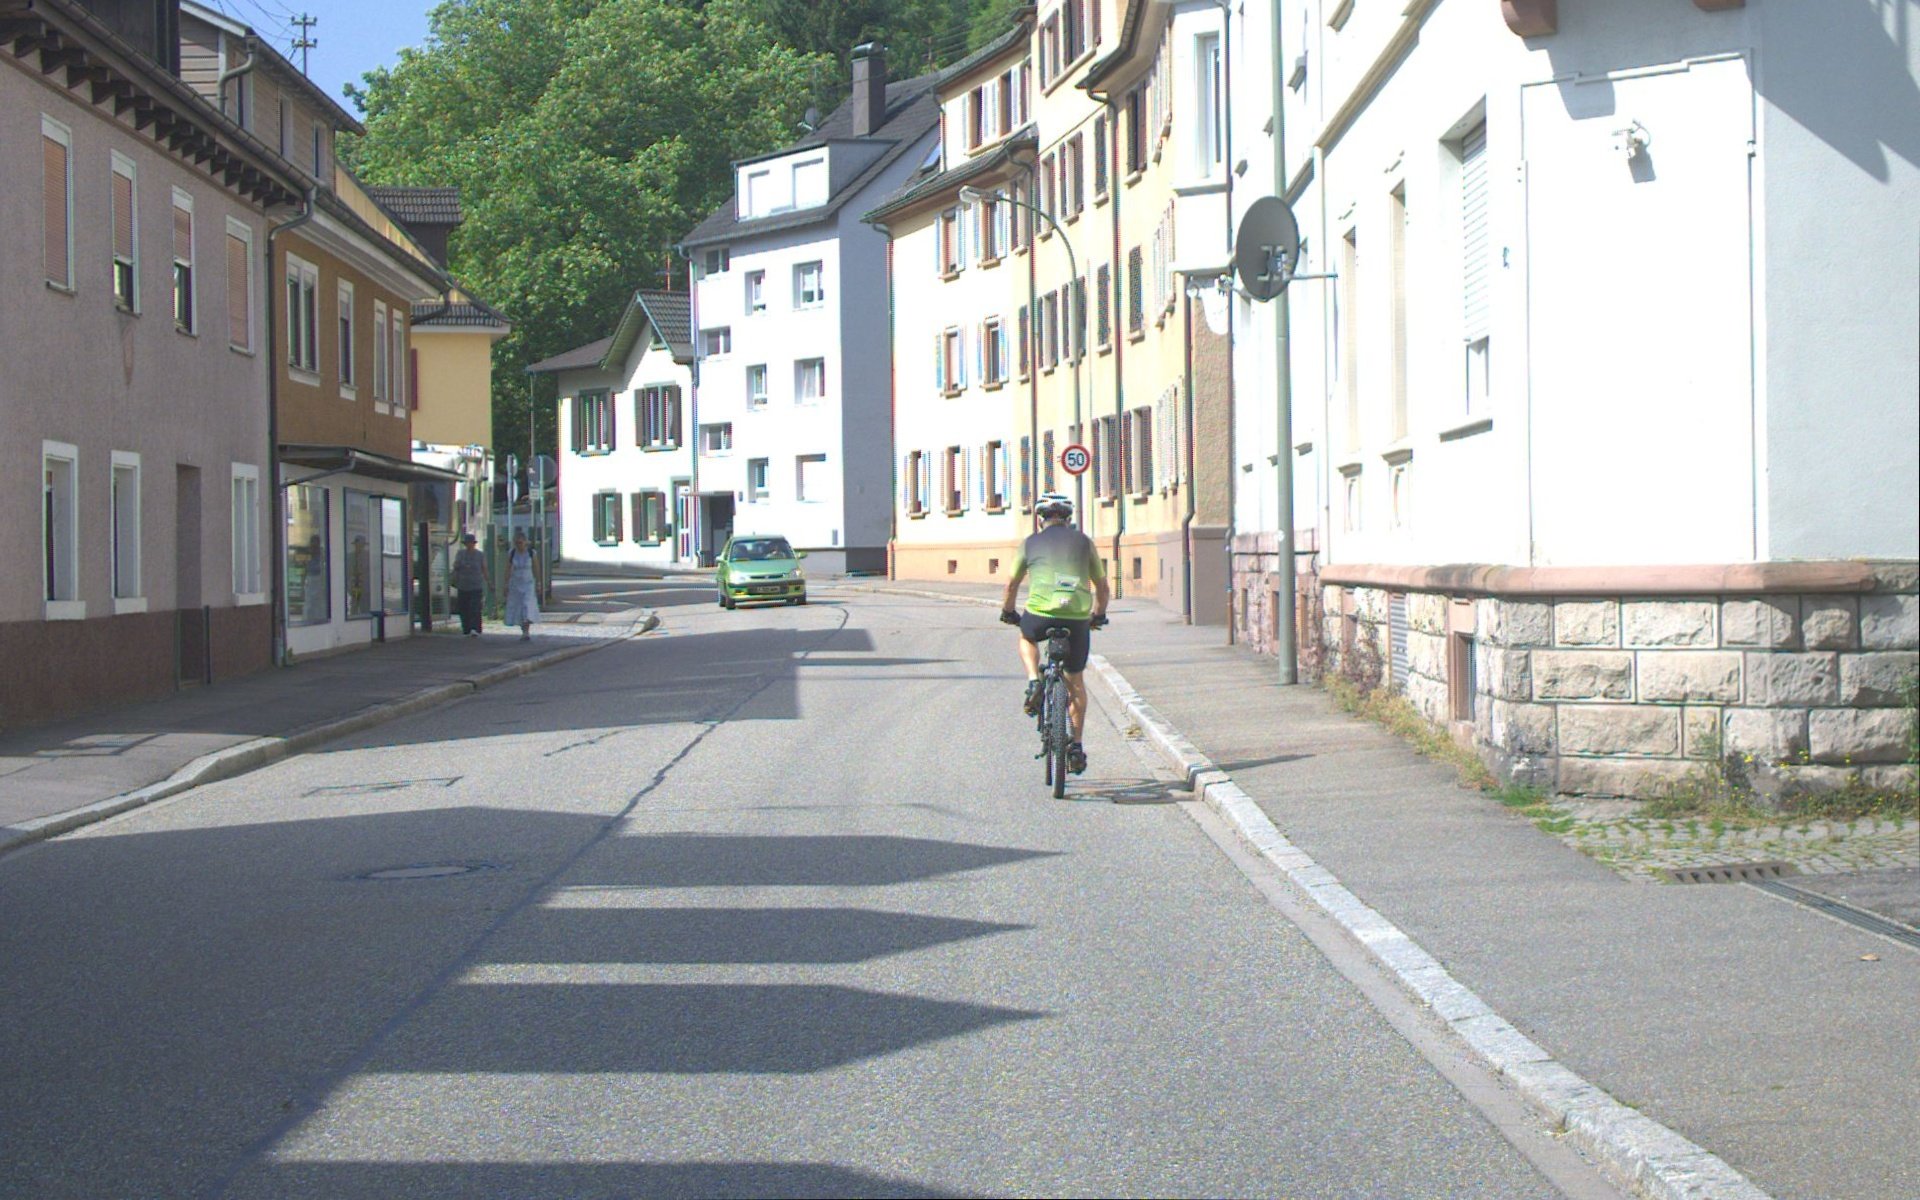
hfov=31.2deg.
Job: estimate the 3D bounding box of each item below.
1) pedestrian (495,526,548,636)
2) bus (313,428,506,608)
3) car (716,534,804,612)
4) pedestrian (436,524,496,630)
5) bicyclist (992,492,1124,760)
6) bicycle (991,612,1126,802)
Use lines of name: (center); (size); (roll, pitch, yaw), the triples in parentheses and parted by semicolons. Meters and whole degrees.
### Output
pedestrian: (-6.613, -0.296, 51.874); (0.639, 1.621, 0.777); (2, 1, 0)
bus: (-10.553, -1.572, 66.666); (2.820, 3.217, 9.037); (1, 1, -4)
car: (-4.101, -0.567, 70.199); (1.596, 1.459, 3.660); (-4, 1, -5)
pedestrian: (-7.443, -0.347, 51.805); (0.735, 1.559, 0.824); (2, 1, 0)
bicyclist: (0.570, 0.145, 20.226); (0.685, 1.526, 0.716); (-2, 1, -2)
bicycle: (0.565, 0.611, 20.257); (0.698, 1.032, 1.471); (0, 1, -2)
